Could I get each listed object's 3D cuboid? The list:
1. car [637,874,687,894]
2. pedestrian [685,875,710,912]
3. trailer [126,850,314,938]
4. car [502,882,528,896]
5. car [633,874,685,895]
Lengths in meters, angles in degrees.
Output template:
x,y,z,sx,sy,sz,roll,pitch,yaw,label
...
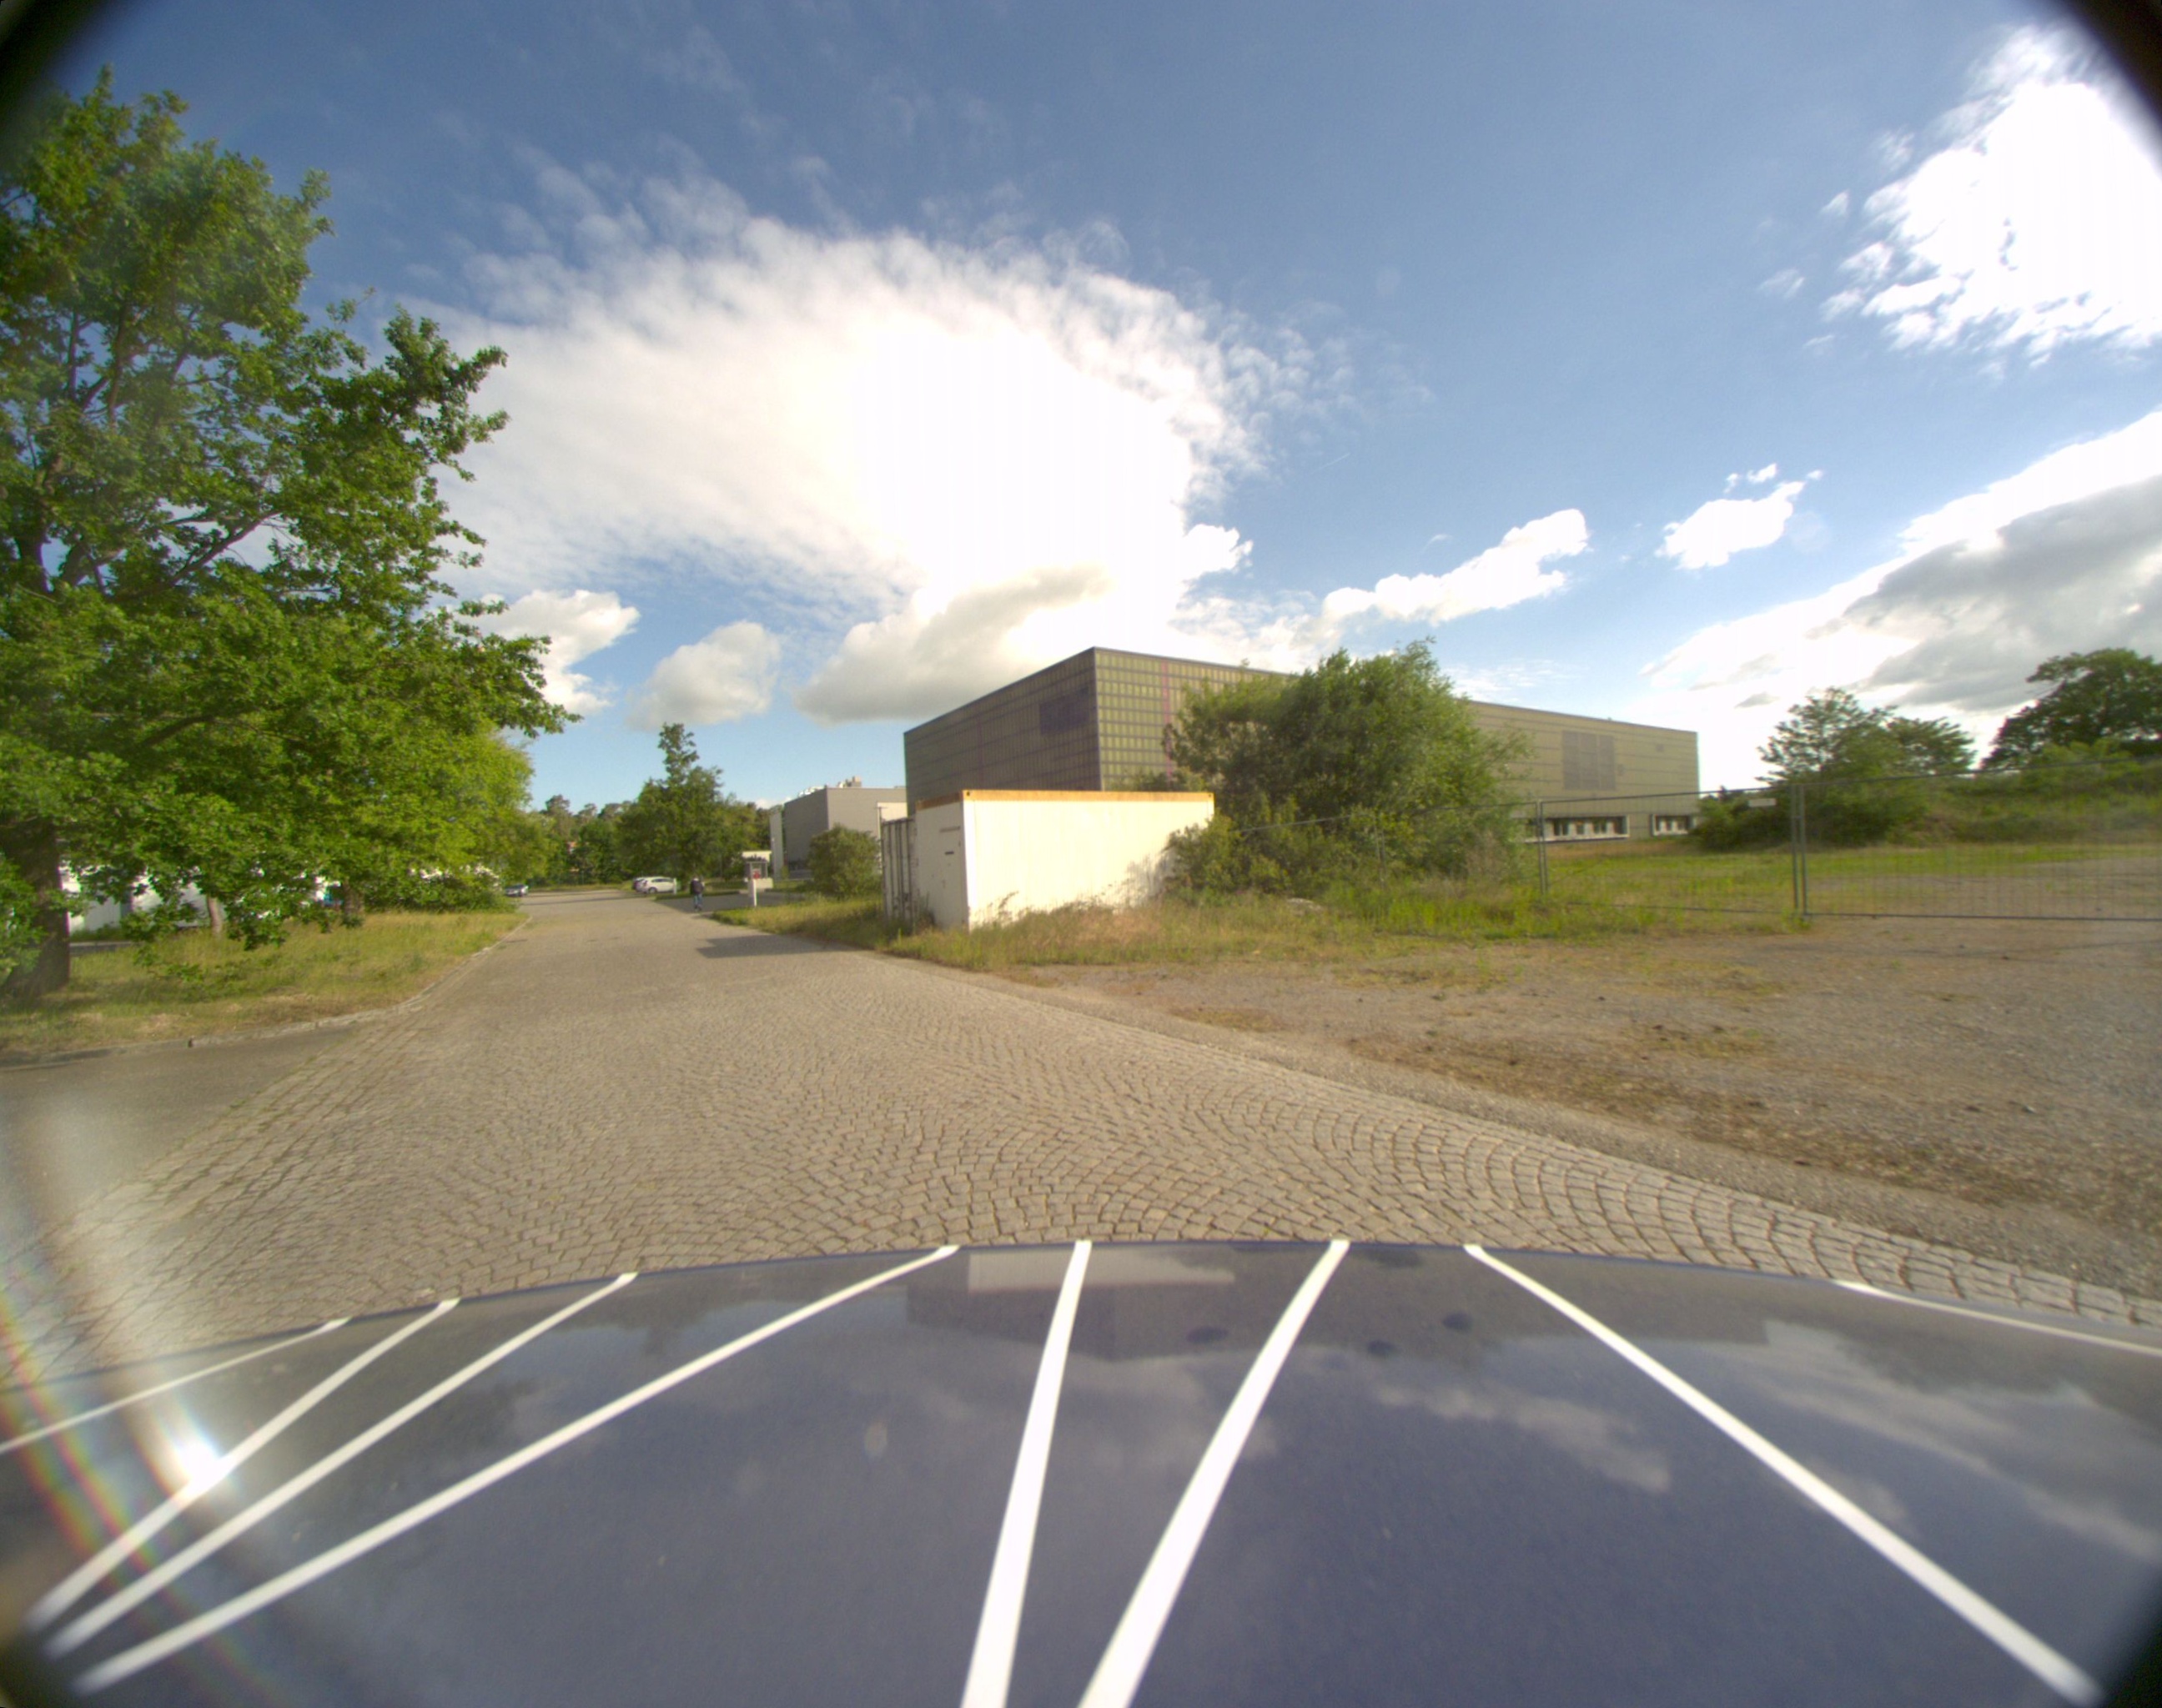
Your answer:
x,y,z,sx,sy,sz,roll,pitch,yaw,label
-39.702,2.811,72.044,4.005,1.633,1.996,-3,0,-28,car
-16.955,1.735,33.609,0.868,1.550,1.026,-3,0,-23,pedestrian
-39.799,1.746,35.664,2.931,3.451,9.878,-3,0,-32,trailer
-61.842,3.839,83.007,2.004,1.363,3.990,-3,0,-40,car
-38.560,2.776,69.552,4.005,1.633,1.996,-3,0,-28,car
